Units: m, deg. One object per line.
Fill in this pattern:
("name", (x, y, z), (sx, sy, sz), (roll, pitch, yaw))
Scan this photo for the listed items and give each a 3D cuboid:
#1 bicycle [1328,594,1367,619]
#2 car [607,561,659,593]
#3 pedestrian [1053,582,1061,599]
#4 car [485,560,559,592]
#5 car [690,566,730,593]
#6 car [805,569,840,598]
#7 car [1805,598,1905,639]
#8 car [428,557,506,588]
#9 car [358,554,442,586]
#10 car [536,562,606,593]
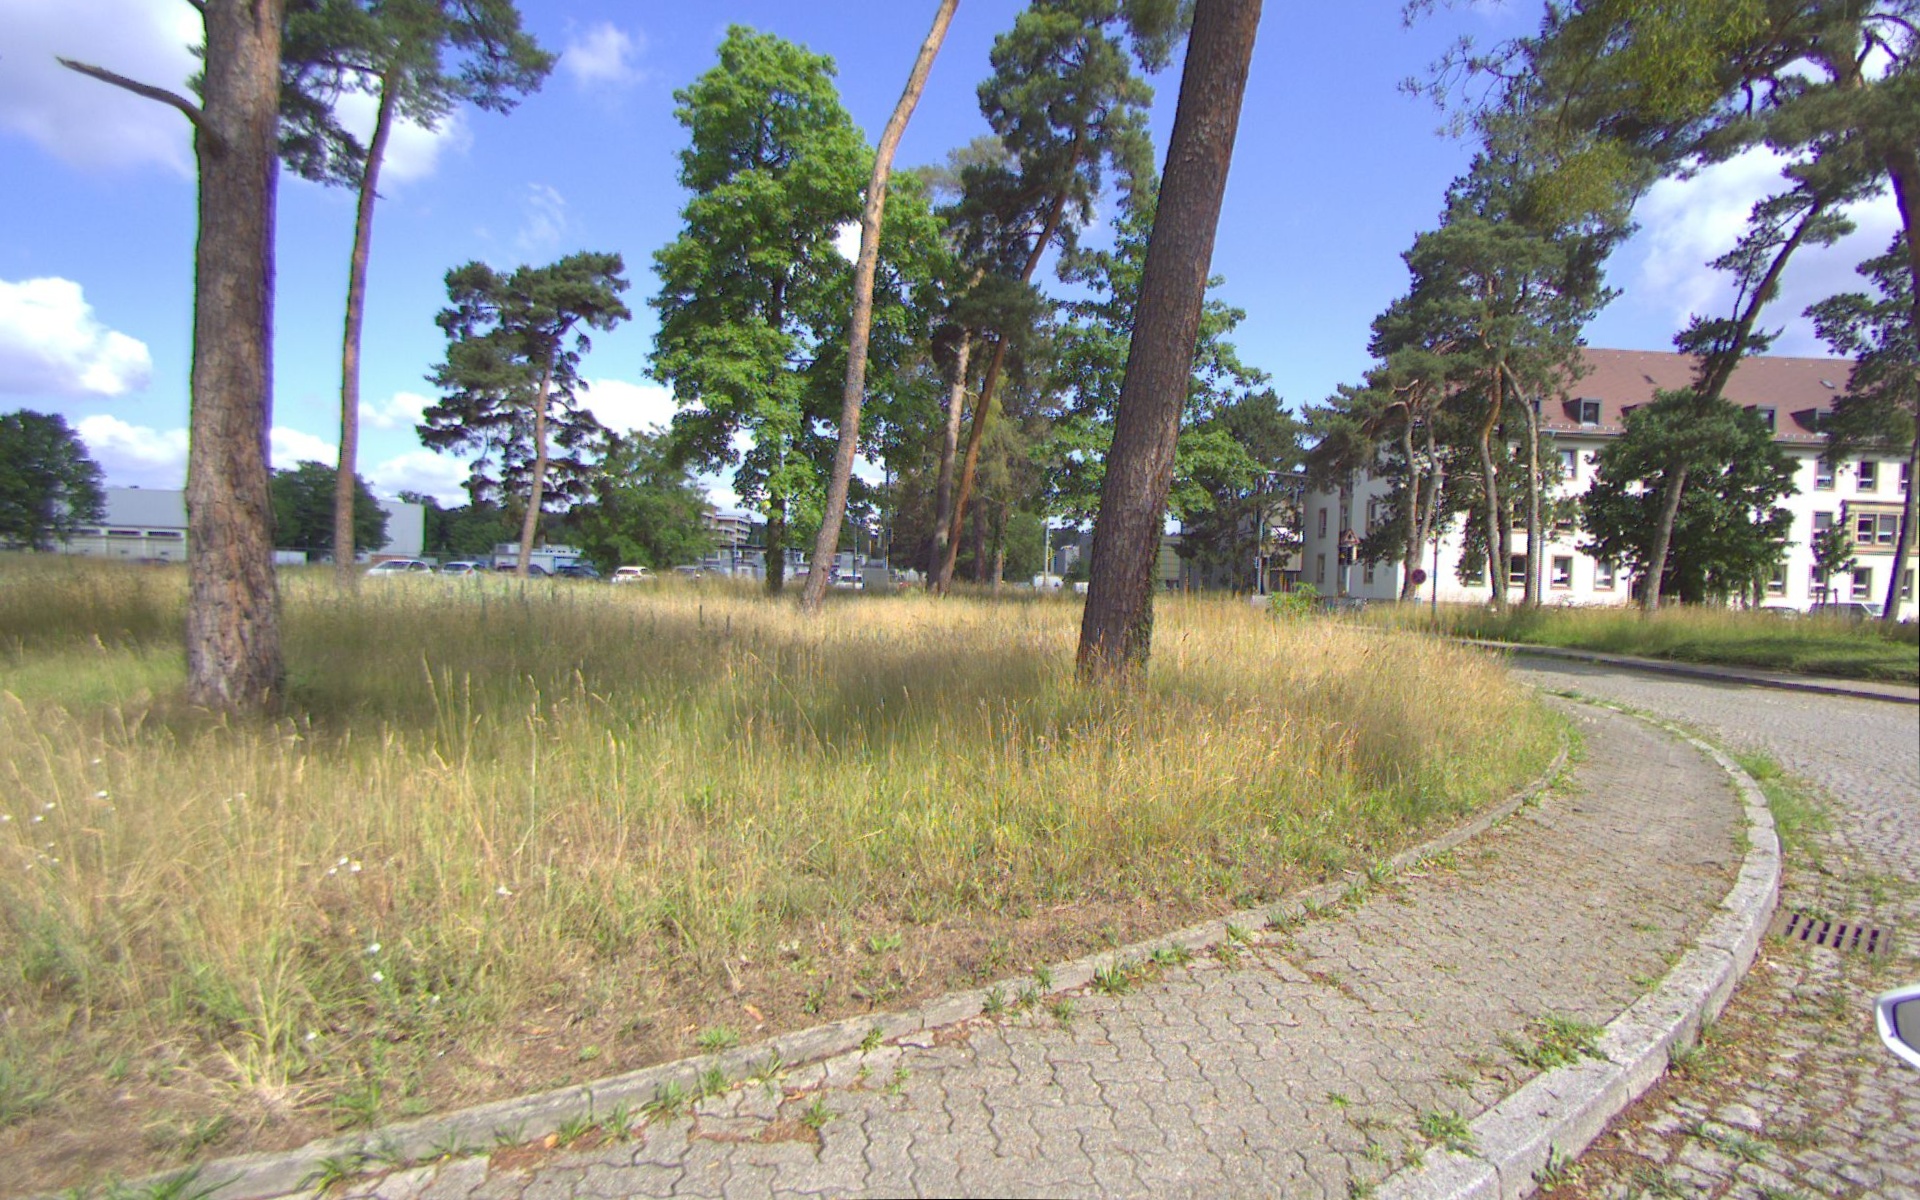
("bicycle", (18.123, 0.296, 47.001), (1.554, 1.115, 0.491), (2, 1, 9))
("car", (-18.904, -1.321, 58.211), (1.864, 1.725, 4.077), (2, 1, -4))
("pedestrian", (11.532, -1.116, 119.306), (0.949, 2.041, 1.055), (2, 1, 5))
("car", (-20.484, -1.114, 47.194), (1.864, 1.337, 4.077), (2, 1, -4))
("car", (-16.632, -1.351, 66.959), (1.864, 1.725, 4.077), (2, 1, -4))
("car", (-9.014, -1.102, 66.100), (1.864, 1.804, 4.077), (2, 1, -4))
("car", (48.695, 0.977, 54.789), (1.679, 2.018, 4.071), (2, 1, -2))
("car", (-23.267, -1.274, 47.605), (1.864, 1.356, 4.077), (2, 1, -4))
("car", (-26.330, -1.367, 47.399), (1.864, 1.367, 4.069), (2, 1, -4))
("car", (-18.140, -1.020, 47.012), (1.864, 1.327, 4.077), (2, 1, -4))
